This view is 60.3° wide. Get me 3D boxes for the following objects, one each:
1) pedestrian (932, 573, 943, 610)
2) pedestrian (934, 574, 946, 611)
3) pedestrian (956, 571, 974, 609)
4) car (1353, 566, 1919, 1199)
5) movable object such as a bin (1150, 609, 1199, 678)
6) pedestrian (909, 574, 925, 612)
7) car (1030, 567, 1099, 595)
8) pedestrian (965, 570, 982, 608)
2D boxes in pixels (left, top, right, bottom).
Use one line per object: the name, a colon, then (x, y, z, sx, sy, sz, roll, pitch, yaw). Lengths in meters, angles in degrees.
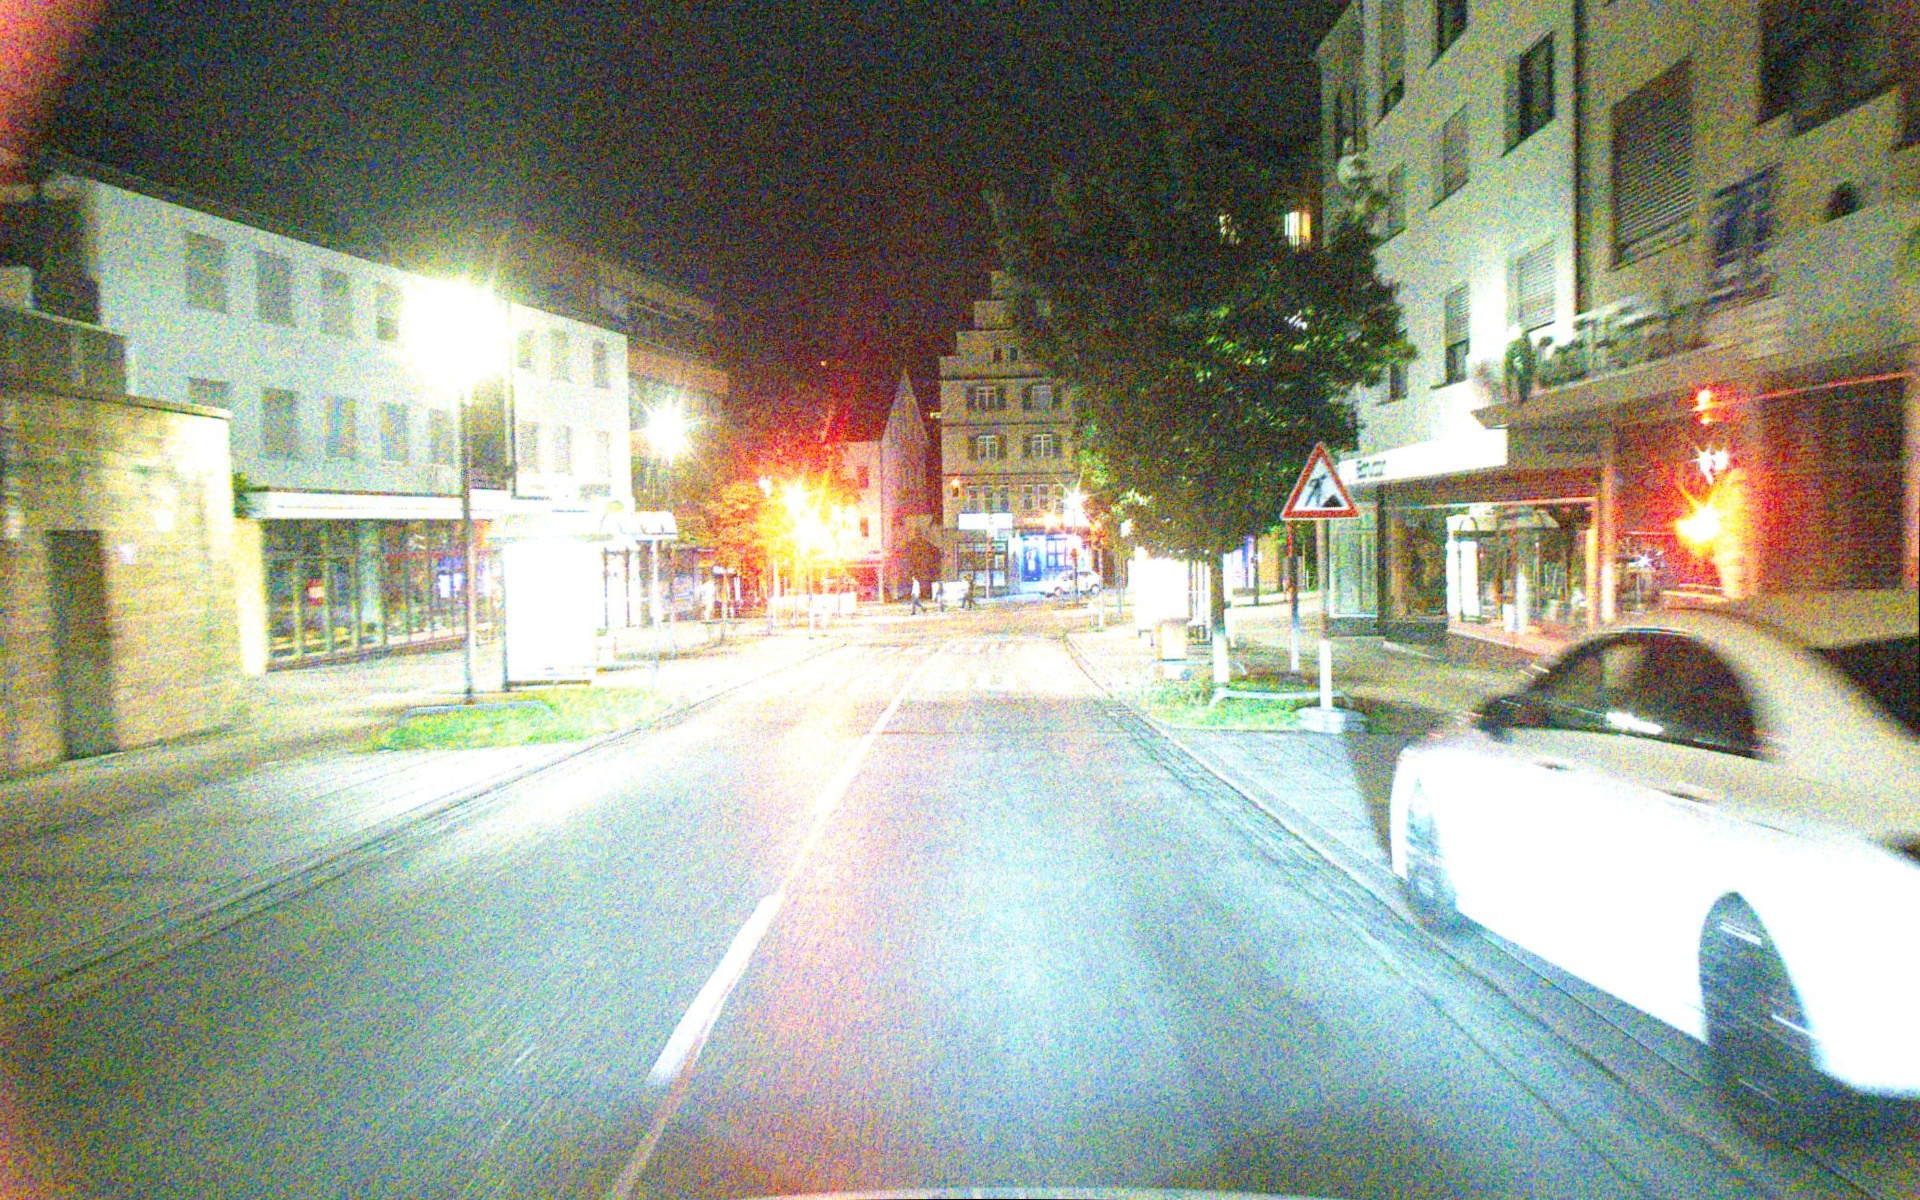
pedestrian: (-1.131, -0.427, 82.975, 0.556, 1.827, 0.718, 0, -1, -3)
pedestrian: (-0.979, -0.366, 80.816, 0.556, 1.827, 0.717, 0, -1, -4)
pedestrian: (0.240, -0.481, 80.680, 0.563, 1.827, 0.709, 0, -1, -37)
car: (2.901, 0.653, 5.734, 1.820, 1.467, 4.593, -3, 0, -1)
movable object such as a bin: (3.000, 0.603, 23.122, 0.514, 0.953, 0.628, 0, -1, -9)
pedestrian: (-2.066, -0.347, 79.813, 0.701, 1.827, 0.570, -1, -1, 5)
car: (6.235, -1.142, 98.969, 3.694, 1.646, 1.825, 0, -1, -19)
pedestrian: (0.667, -0.528, 80.024, 0.719, 1.827, 0.719, -1, -1, 9)
